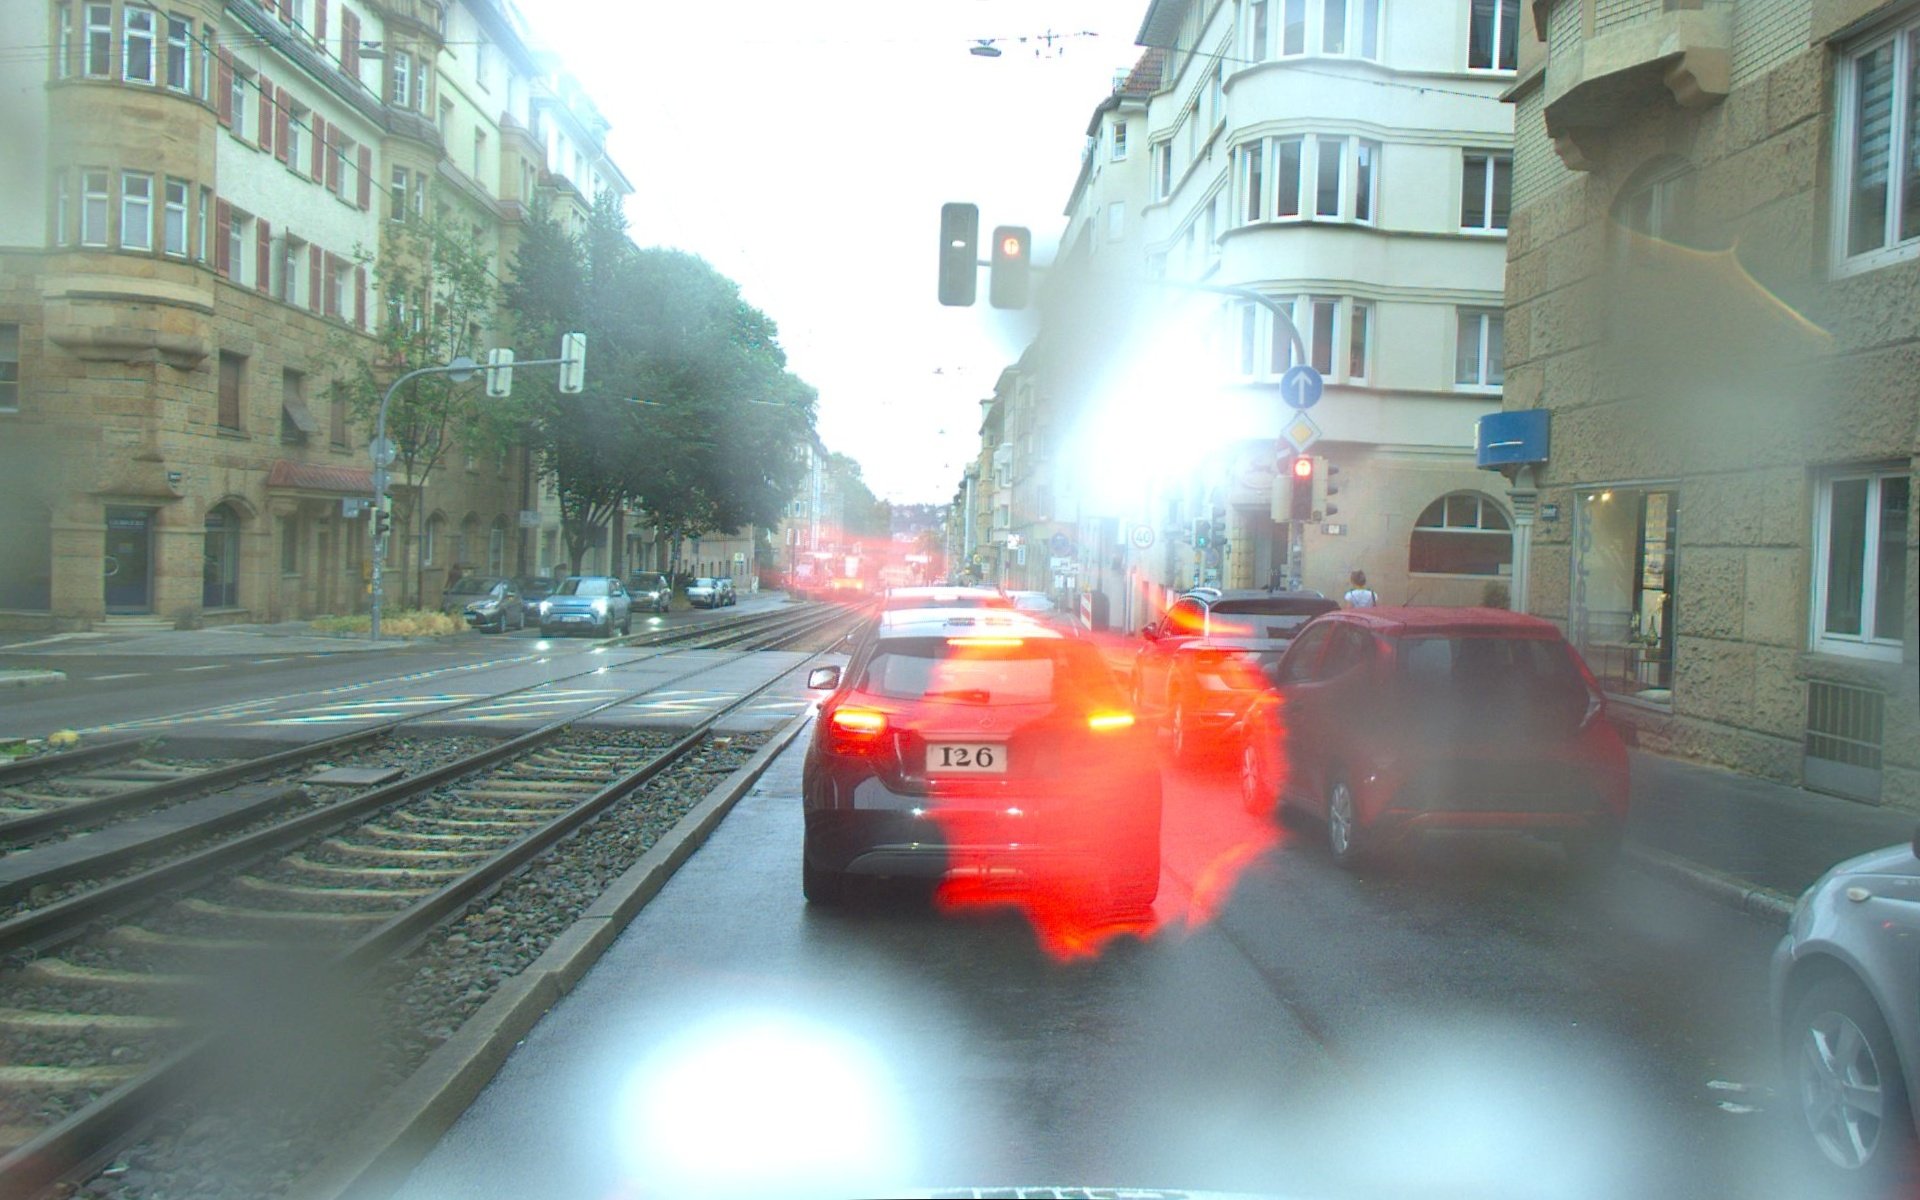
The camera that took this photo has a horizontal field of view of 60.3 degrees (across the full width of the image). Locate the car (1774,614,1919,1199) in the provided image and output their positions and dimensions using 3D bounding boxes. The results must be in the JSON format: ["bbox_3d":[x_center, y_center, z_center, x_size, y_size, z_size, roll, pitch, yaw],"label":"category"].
[{"bbox_3d":[3.121,0.792,3.088,1.581,1.493,3.312,0,0,0],"label":"car"}]

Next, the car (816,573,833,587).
[{"bbox_3d":[-12.332,-1.813,150.326,1.349,1.271,3.296,1,0,-2],"label":"car"}]

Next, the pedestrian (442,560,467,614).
[{"bbox_3d":[-16.176,-0.406,52.924,0.619,1.702,0.701,1,-1,-8],"label":"pedestrian"}]

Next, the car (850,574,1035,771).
[{"bbox_3d":[-0.177,0.619,15.822,1.533,1.637,3.813,1,0,-1],"label":"car"}]

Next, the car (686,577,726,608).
[{"bbox_3d":[-13.650,-0.392,88.955,1.557,1.608,3.917,1,0,-1],"label":"car"}]

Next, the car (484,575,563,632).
[{"bbox_3d":[-13.273,0.103,50.511,1.683,1.639,3.914,1,0,-5],"label":"car"}]

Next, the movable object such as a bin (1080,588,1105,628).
[{"bbox_3d":[4.768,0.301,59.630,0.859,1.413,0.983,1,-1,3],"label":"movable object such as a bin"}]

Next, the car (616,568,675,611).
[{"bbox_3d":[-13.556,-0.420,71.494,1.837,1.767,3.917,1,0,-1],"label":"car"}]

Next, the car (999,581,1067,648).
[{"bbox_3d":[1.841,0.350,42.654,1.513,1.618,3.547,1,0,-1],"label":"car"}]

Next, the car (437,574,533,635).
[{"bbox_3d":[-13.010,0.122,45.485,1.718,1.579,4.032,1,0,-4],"label":"car"}]

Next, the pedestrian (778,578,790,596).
[{"bbox_3d":[-18.901,-1.394,177.721,1.031,1.992,1.043,2,0,0],"label":"pedestrian"}]

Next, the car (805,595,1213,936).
[{"bbox_3d":[0.190,0.735,9.439,1.792,1.483,4.103,1,0,-1],"label":"car"}]

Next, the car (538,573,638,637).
[{"bbox_3d":[-10.045,0.140,44.915,1.860,1.615,3.972,1,0,-1],"label":"car"}]

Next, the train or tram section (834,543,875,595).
[{"bbox_3d":[-8.532,-2.427,134.461,2.726,3.928,10.427,1,0,-1],"label":"train or tram section"}]

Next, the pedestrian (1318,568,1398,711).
[{"bbox_3d":[5.101,0.492,21.231,0.726,1.778,1.111,1,-1,-1],"label":"pedestrian"}]

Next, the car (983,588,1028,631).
[{"bbox_3d":[1.668,0.323,61.536,1.513,1.512,3.547,1,0,-1],"label":"car"}]

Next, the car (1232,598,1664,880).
[{"bbox_3d":[2.905,0.752,10.548,1.609,1.473,3.297,1,0,-3],"label":"car"}]

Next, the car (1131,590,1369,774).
[{"bbox_3d":[2.630,0.679,15.783,1.513,1.512,3.829,1,0,-1],"label":"car"}]

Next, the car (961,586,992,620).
[{"bbox_3d":[0.729,0.128,73.594,1.268,1.467,2.928,1,0,-1],"label":"car"}]

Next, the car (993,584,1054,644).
[{"bbox_3d":[1.771,0.376,47.127,1.513,1.618,3.547,1,0,-1],"label":"car"}]

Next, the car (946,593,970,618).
[{"bbox_3d":[-0.127,0.394,114.110,1.512,1.664,3.687,1,0,2],"label":"car"}]

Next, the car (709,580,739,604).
[{"bbox_3d":[-14.016,-0.449,98.360,1.419,1.354,3.270,1,0,-3],"label":"car"}]
